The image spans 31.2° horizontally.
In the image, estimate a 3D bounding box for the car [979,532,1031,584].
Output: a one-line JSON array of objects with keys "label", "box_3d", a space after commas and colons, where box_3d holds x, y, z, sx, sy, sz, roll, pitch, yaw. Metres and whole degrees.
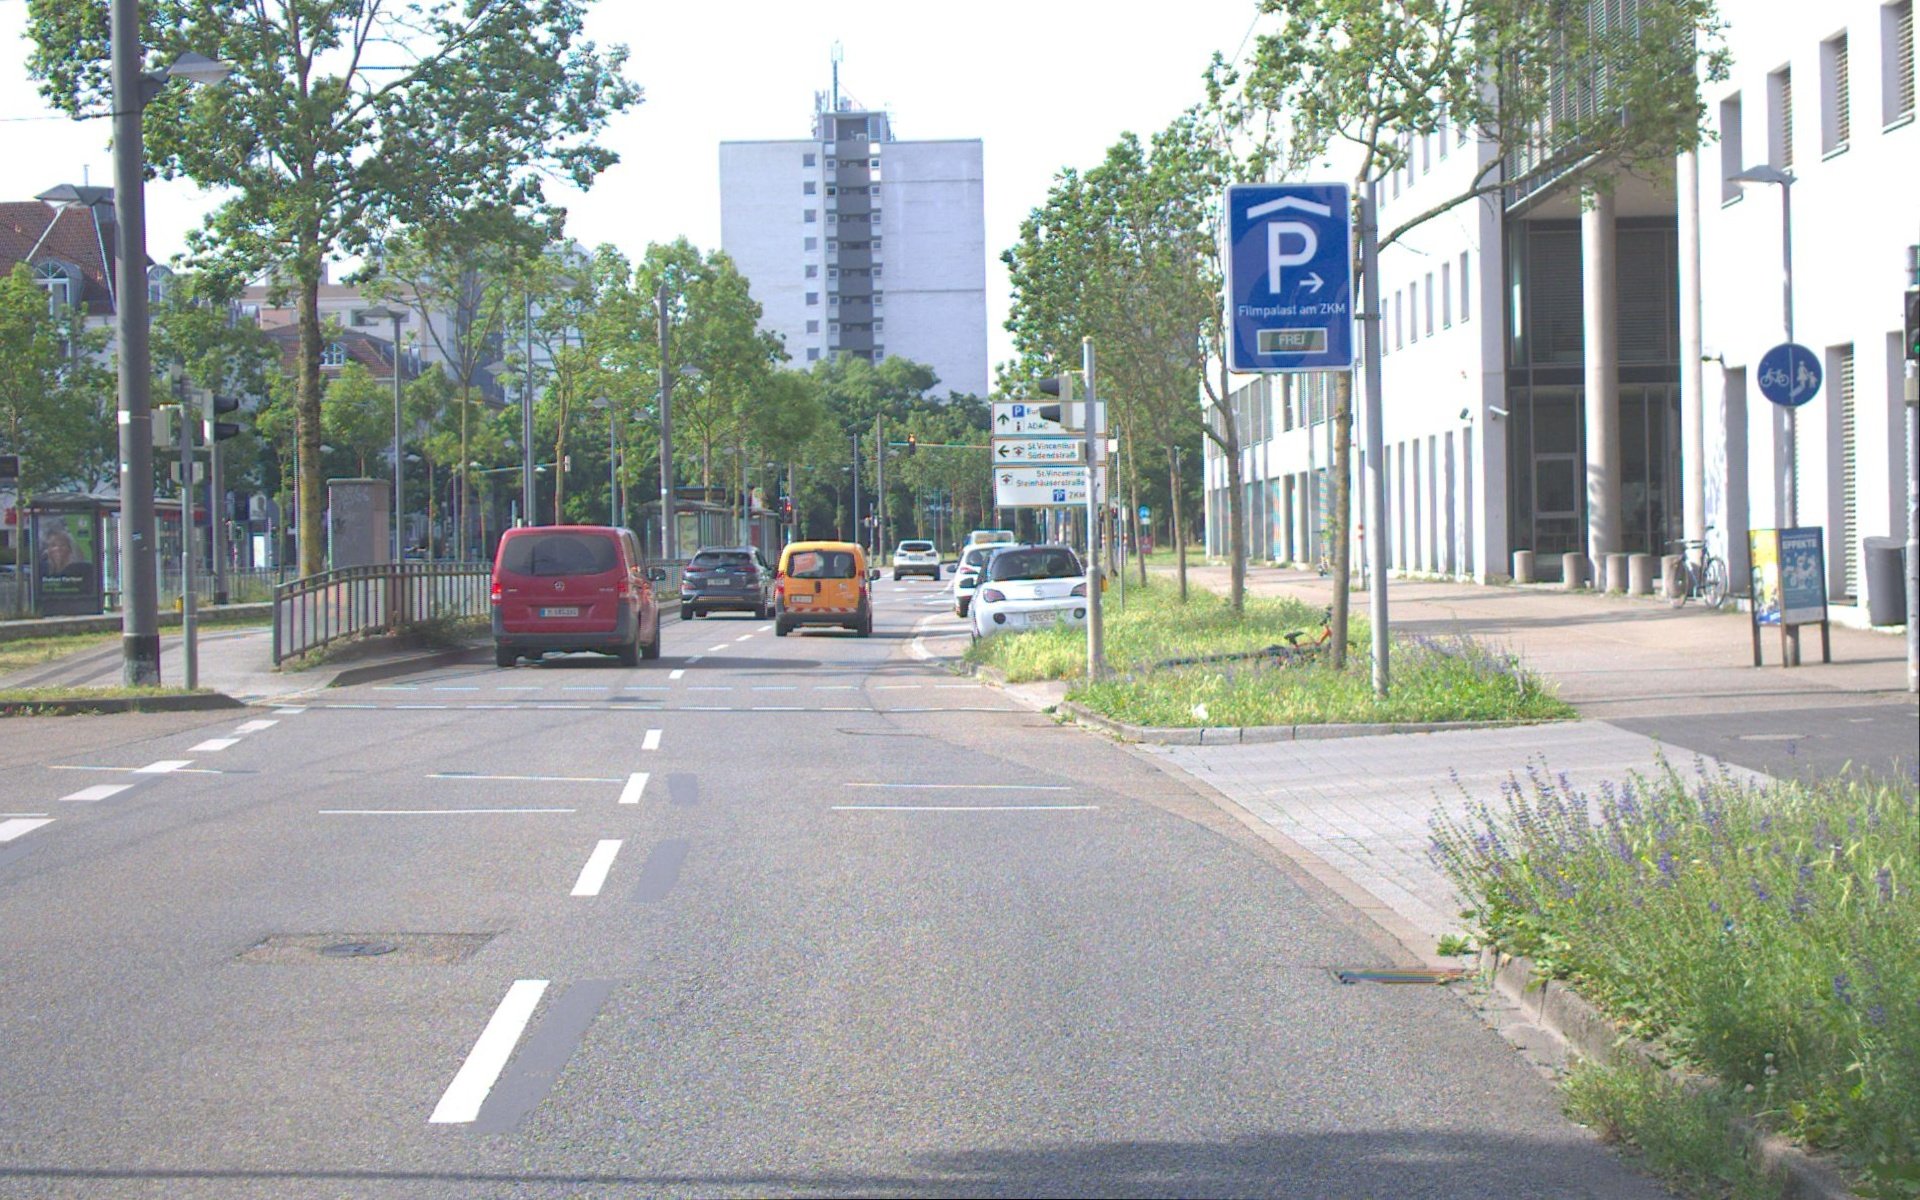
[{"label": "car", "box_3d": [1.783, -1.689, 137.282, 1.993, 2.007, 4.000, -1, 1, 0]}]

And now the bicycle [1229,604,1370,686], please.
[{"label": "bicycle", "box_3d": [3.274, 0.436, 33.161, 1.271, 0.630, 0.521, -7, 0, 8]}]

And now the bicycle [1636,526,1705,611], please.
[{"label": "bicycle", "box_3d": [9.426, -0.428, 45.658, 0.493, 1.082, 1.550, -3, 1, -2]}]

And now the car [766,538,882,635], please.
[{"label": "car", "box_3d": [-2.446, -0.281, 62.848, 1.876, 1.690, 3.973, -1, 1, 1]}]

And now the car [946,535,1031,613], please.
[{"label": "car", "box_3d": [0.622, -0.575, 73.371, 1.689, 1.521, 3.851, -3, 1, 1]}]

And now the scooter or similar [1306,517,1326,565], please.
[{"label": "scooter or similar", "box_3d": [9.302, -1.549, 89.695, 0.462, 1.209, 1.254, -2, 1, 6]}]

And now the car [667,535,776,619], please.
[{"label": "car", "box_3d": [-5.079, -0.508, 73.672, 1.993, 1.700, 4.000, -1, 1, 0]}]

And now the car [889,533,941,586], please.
[{"label": "car", "box_3d": [-1.769, -1.606, 136.257, 1.993, 2.007, 4.000, -1, 1, -1]}]

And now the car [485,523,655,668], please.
[{"label": "car", "box_3d": [-5.219, -0.097, 46.480, 1.874, 1.847, 4.000, -1, 1, -1]}]

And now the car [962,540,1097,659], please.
[{"label": "car", "box_3d": [0.923, -0.043, 47.383, 1.720, 1.514, 3.781, -1, 2, 0]}]
